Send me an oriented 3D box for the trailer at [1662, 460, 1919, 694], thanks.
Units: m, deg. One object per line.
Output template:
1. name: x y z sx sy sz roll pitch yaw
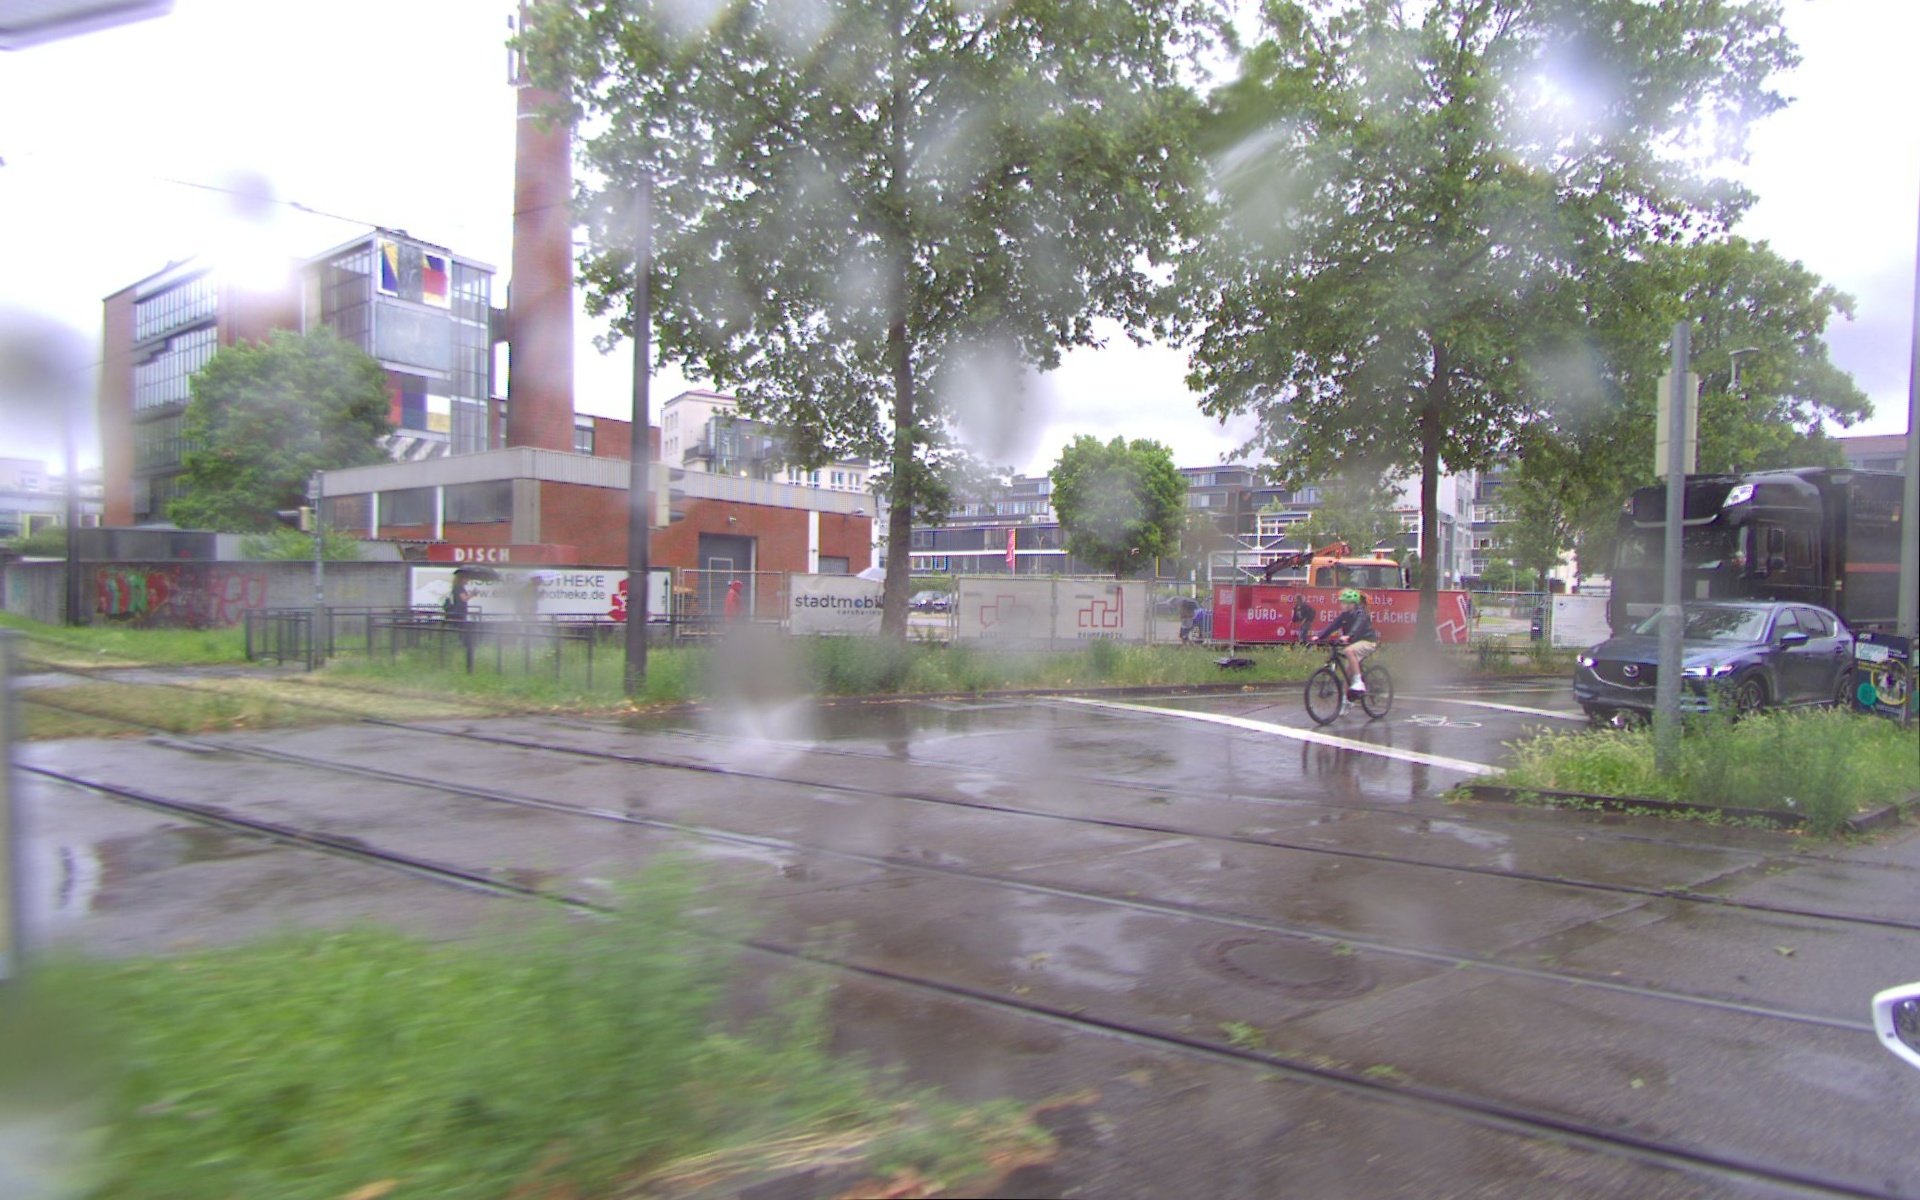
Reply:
1. trailer: 21.979 -0.341 22.140 14.837 4.103 3.434 1 0 -24

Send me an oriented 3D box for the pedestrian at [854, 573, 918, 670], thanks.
1. pedestrian: -1.572 0.439 21.149 1.194 1.991 0.910 1 1 -13

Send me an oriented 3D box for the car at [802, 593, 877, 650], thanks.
1. car: -3.244 0.534 26.631 1.810 1.339 3.659 1 1 -9

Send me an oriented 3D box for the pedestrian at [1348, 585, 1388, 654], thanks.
1. pedestrian: 10.127 0.465 24.940 0.890 1.671 0.753 1 0 21

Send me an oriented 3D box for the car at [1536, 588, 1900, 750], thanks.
1. car: 10.169 0.753 13.409 4.870 1.705 2.064 -1 4 -29

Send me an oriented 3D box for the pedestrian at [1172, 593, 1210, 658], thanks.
1. pedestrian: 5.541 0.611 24.116 0.756 1.535 0.642 1 0 -1

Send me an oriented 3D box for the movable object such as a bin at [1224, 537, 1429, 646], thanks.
1. movable object such as a bin: 11.013 -0.275 31.005 2.727 2.970 6.761 1 1 -12

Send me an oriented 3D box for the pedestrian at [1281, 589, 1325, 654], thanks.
1. pedestrian: 8.570 0.526 25.095 0.863 1.602 0.642 1 0 -1

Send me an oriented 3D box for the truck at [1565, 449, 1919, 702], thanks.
1. truck: 15.654 -0.391 19.380 6.876 4.133 3.441 0 1 -24

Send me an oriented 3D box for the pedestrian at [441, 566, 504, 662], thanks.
1. pedestrian: -9.901 0.272 20.391 0.941 1.887 0.845 0 0 40

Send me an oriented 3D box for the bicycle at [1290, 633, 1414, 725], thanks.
1. bicycle: 4.879 0.944 12.455 1.857 1.038 0.528 1 0 -37

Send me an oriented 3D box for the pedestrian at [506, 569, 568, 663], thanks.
1. pedestrian: -8.747 0.317 20.753 0.941 1.887 0.845 0 0 40

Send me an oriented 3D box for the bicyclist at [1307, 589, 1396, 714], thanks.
1. bicyclist: 4.846 0.615 12.438 1.001 1.480 0.575 1 0 -37

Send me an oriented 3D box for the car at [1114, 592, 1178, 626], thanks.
1. car: 10.323 0.484 55.454 1.965 1.760 4.411 1 1 32

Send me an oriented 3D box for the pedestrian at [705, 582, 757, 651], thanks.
1. pedestrian: -5.183 0.357 22.745 0.816 1.525 0.845 0 0 40

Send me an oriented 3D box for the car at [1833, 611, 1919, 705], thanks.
1. car: 16.136 0.887 16.216 4.046 1.392 1.692 0 1 -27

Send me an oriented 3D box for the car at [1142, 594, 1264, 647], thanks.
1. car: 6.829 0.545 28.607 1.813 1.339 3.653 1 1 -15
